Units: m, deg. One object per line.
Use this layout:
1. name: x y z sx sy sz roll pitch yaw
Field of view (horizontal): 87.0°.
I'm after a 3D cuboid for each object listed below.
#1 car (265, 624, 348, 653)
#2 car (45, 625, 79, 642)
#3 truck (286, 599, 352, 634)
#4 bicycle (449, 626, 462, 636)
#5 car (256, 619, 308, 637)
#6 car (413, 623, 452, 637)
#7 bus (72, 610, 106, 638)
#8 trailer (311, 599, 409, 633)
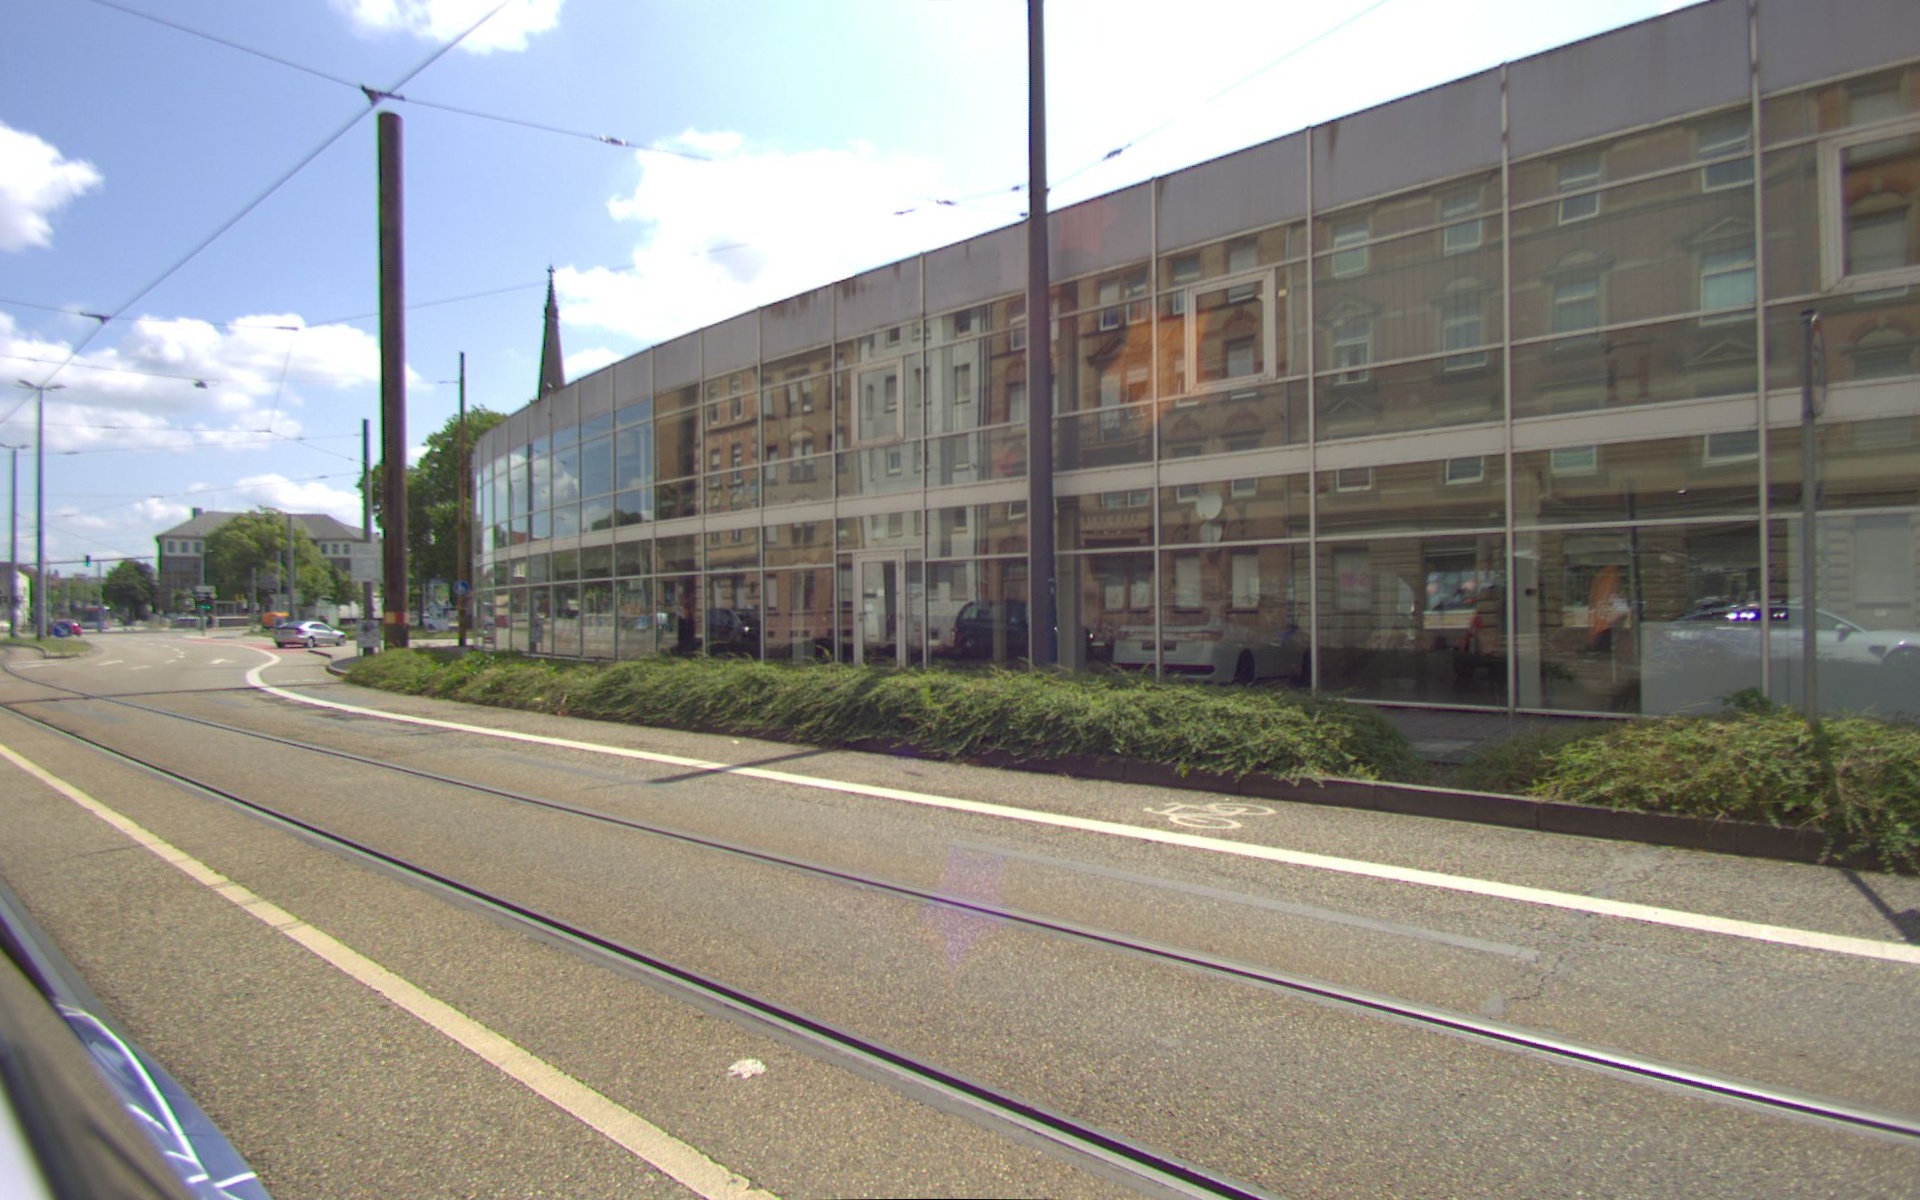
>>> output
1. car: -35.310 2.047 54.817 1.795 1.431 4.187 -1 -1 0
2. car: -76.597 2.873 86.302 3.901 1.439 1.684 -1 -2 42
3. truck: -77.874 1.957 123.141 2.931 4.150 6.857 -1 -1 10
4. bicycle: -57.932 3.556 116.278 1.258 1.154 0.458 -1 -1 6
5. car: -71.691 2.965 107.076 1.899 1.880 4.347 0 -2 14
6. car: -64.443 3.653 123.572 4.102 1.655 1.634 0 -1 -31
7. bus: -113.105 3.117 131.478 2.905 3.474 7.963 0 -1 -38
8. trailer: -76.765 2.034 129.906 2.916 4.107 13.379 -1 -1 9
